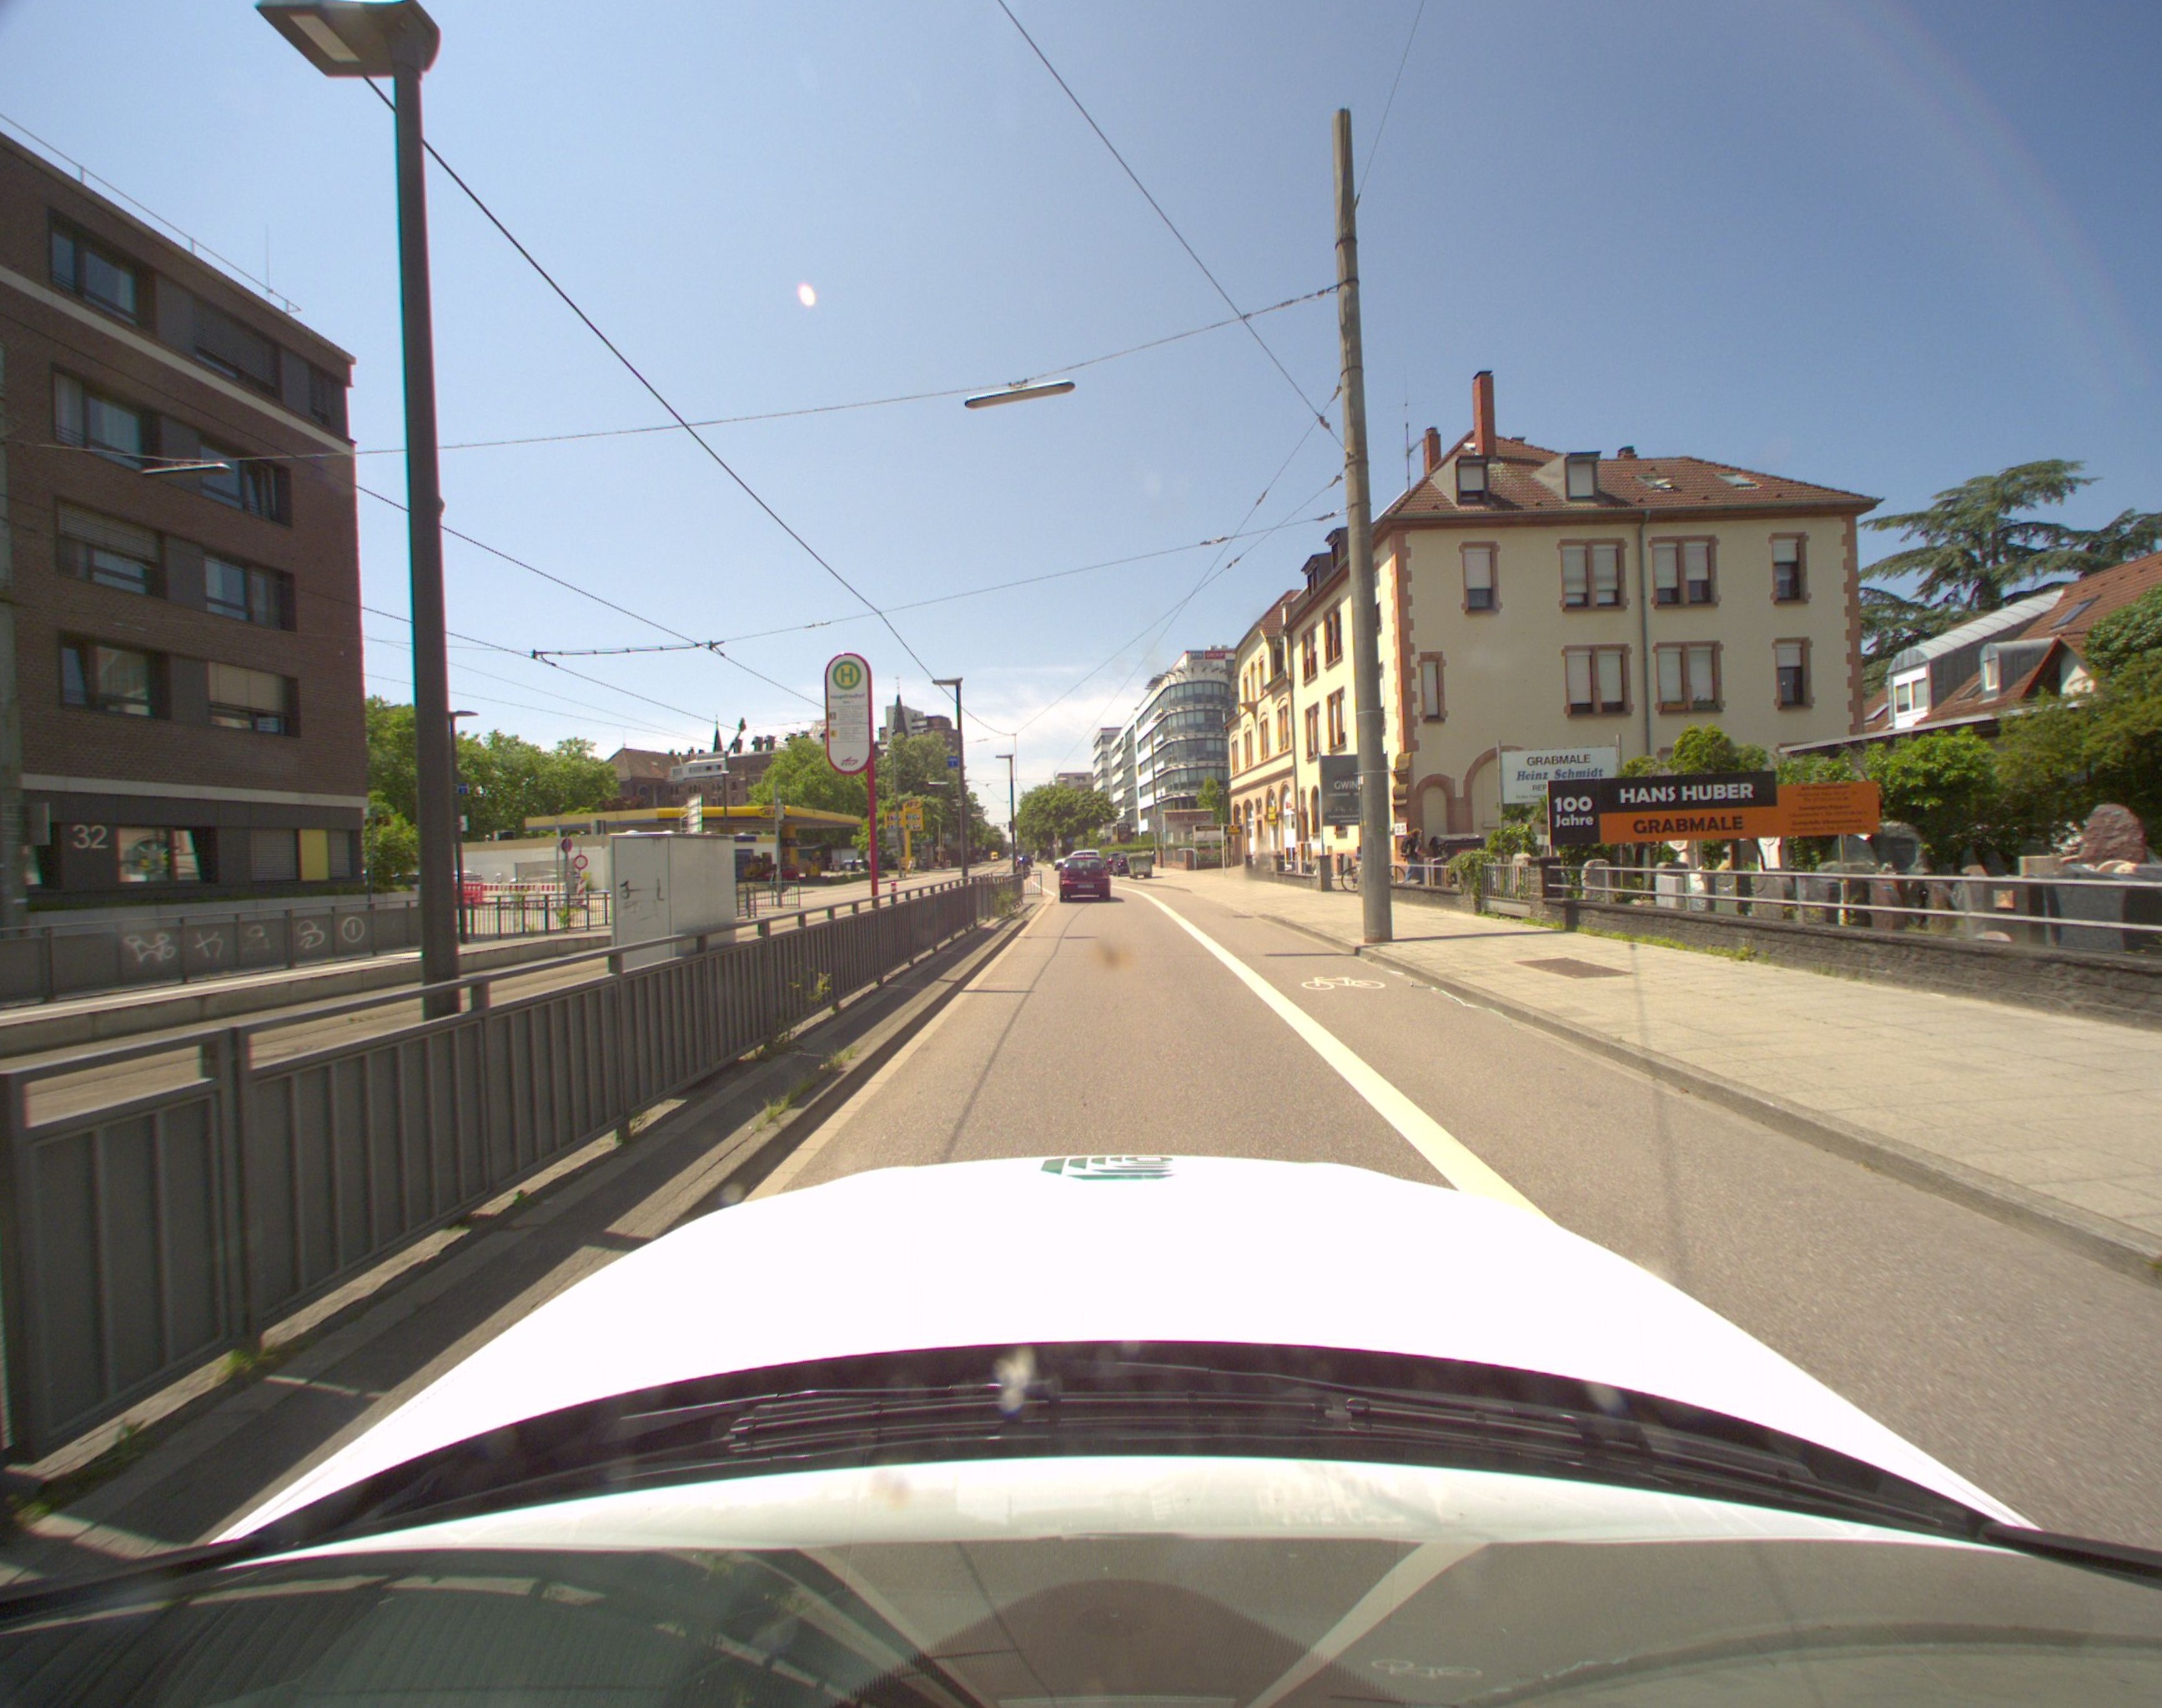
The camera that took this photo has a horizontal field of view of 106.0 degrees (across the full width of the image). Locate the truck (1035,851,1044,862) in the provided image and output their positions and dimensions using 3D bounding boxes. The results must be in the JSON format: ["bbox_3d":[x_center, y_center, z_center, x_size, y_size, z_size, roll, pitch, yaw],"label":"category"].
[{"bbox_3d":[-10.227,0.511,202.068,1.990,2.662,4.867,-1,0,-5],"label":"truck"}]

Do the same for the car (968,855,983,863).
[{"bbox_3d":[-29.041,1.472,224.113,3.975,2.013,1.999,-2,0,-1],"label":"car"}]

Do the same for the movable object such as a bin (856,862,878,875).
[{"bbox_3d":[-25.539,1.712,97.217,1.508,1.509,2.110,-1,0,20],"label":"movable object such as a bin"}]

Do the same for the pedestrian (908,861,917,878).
[{"bbox_3d":[-16.853,1.554,81.491,0.621,1.691,0.724,-2,0,10],"label":"pedestrian"}]

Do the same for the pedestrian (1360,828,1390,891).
[{"bbox_3d":[8.468,0.168,23.449,0.683,1.772,0.505,-2,0,10],"label":"pedestrian"}]

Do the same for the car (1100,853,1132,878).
[{"bbox_3d":[2.626,0.836,62.743,1.920,1.693,5.076,-4,0,-3],"label":"car"}]

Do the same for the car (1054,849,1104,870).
[{"bbox_3d":[-0.214,0.527,78.172,4.536,1.799,1.994,-2,0,-9],"label":"car"}]

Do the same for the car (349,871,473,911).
[{"bbox_3d":[-28.901,1.560,35.283,1.722,1.468,4.009,-1,0,8],"label":"car"}]

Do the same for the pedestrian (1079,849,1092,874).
[{"bbox_3d":[0.337,0.626,64.747,0.783,1.960,0.586,-2,0,-20],"label":"pedestrian"}]

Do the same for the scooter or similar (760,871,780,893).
[{"bbox_3d":[-18.423,1.644,48.249,0.342,1.264,1.248,-1,0,21],"label":"scooter or similar"}]

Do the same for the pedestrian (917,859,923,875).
[{"bbox_3d":[-17.264,1.389,87.446,0.579,1.775,0.698,-1,0,-8],"label":"pedestrian"}]

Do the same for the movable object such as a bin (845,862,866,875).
[{"bbox_3d":[-27.048,1.719,97.725,1.508,1.432,2.110,-1,0,20],"label":"movable object such as a bin"}]

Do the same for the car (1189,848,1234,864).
[{"bbox_3d":[12.956,0.195,80.847,4.136,1.459,1.817,-2,0,-1],"label":"car"}]

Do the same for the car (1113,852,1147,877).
[{"bbox_3d":[3.358,0.706,56.490,1.769,1.548,4.461,-4,0,-4],"label":"car"}]

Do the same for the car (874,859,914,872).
[{"bbox_3d":[-22.611,1.373,98.542,1.910,1.488,4.480,-1,0,35],"label":"car"}]

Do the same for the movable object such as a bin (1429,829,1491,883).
[{"bbox_3d":[11.415,0.062,24.580,1.324,1.499,1.046,-4,0,1],"label":"movable object such as a bin"}]

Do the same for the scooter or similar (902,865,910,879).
[{"bbox_3d":[-15.582,1.578,72.398,0.518,1.200,1.373,-1,0,-7],"label":"scooter or similar"}]

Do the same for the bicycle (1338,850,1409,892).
[{"bbox_3d":[8.238,0.475,22.979,1.791,1.127,0.591,-2,0,9],"label":"bicycle"}]

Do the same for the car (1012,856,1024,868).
[{"bbox_3d":[-10.615,1.333,137.510,1.990,1.739,3.994,-3,0,-4],"label":"car"}]

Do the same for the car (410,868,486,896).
[{"bbox_3d":[-42.564,1.865,54.806,4.229,1.781,2.010,-1,0,19],"label":"car"}]

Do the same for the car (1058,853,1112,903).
[{"bbox_3d":[0.169,0.735,26.807,1.613,1.486,4.001,-1,0,1],"label":"car"}]

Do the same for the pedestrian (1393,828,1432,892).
[{"bbox_3d":[9.038,0.162,22.205,0.819,1.691,0.591,-2,0,10],"label":"pedestrian"}]

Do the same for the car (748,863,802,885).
[{"bbox_3d":[-24.639,1.569,65.777,1.811,1.504,4.220,0,2,19],"label":"car"}]

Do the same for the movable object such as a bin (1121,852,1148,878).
[{"bbox_3d":[3.107,0.635,47.496,1.323,1.455,1.055,-4,0,-8],"label":"movable object such as a bin"}]

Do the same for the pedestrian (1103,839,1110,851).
[{"bbox_3d":[3.730,-1.273,119.995,0.869,1.715,1.091,-4,-1,5],"label":"pedestrian"}]

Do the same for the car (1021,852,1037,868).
[{"bbox_3d":[-6.748,0.815,105.883,1.990,2.013,3.993,-1,0,-5],"label":"car"}]

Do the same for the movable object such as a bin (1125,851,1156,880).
[{"bbox_3d":[3.300,0.636,45.320,1.391,1.455,1.136,-4,0,-8],"label":"movable object such as a bin"}]
